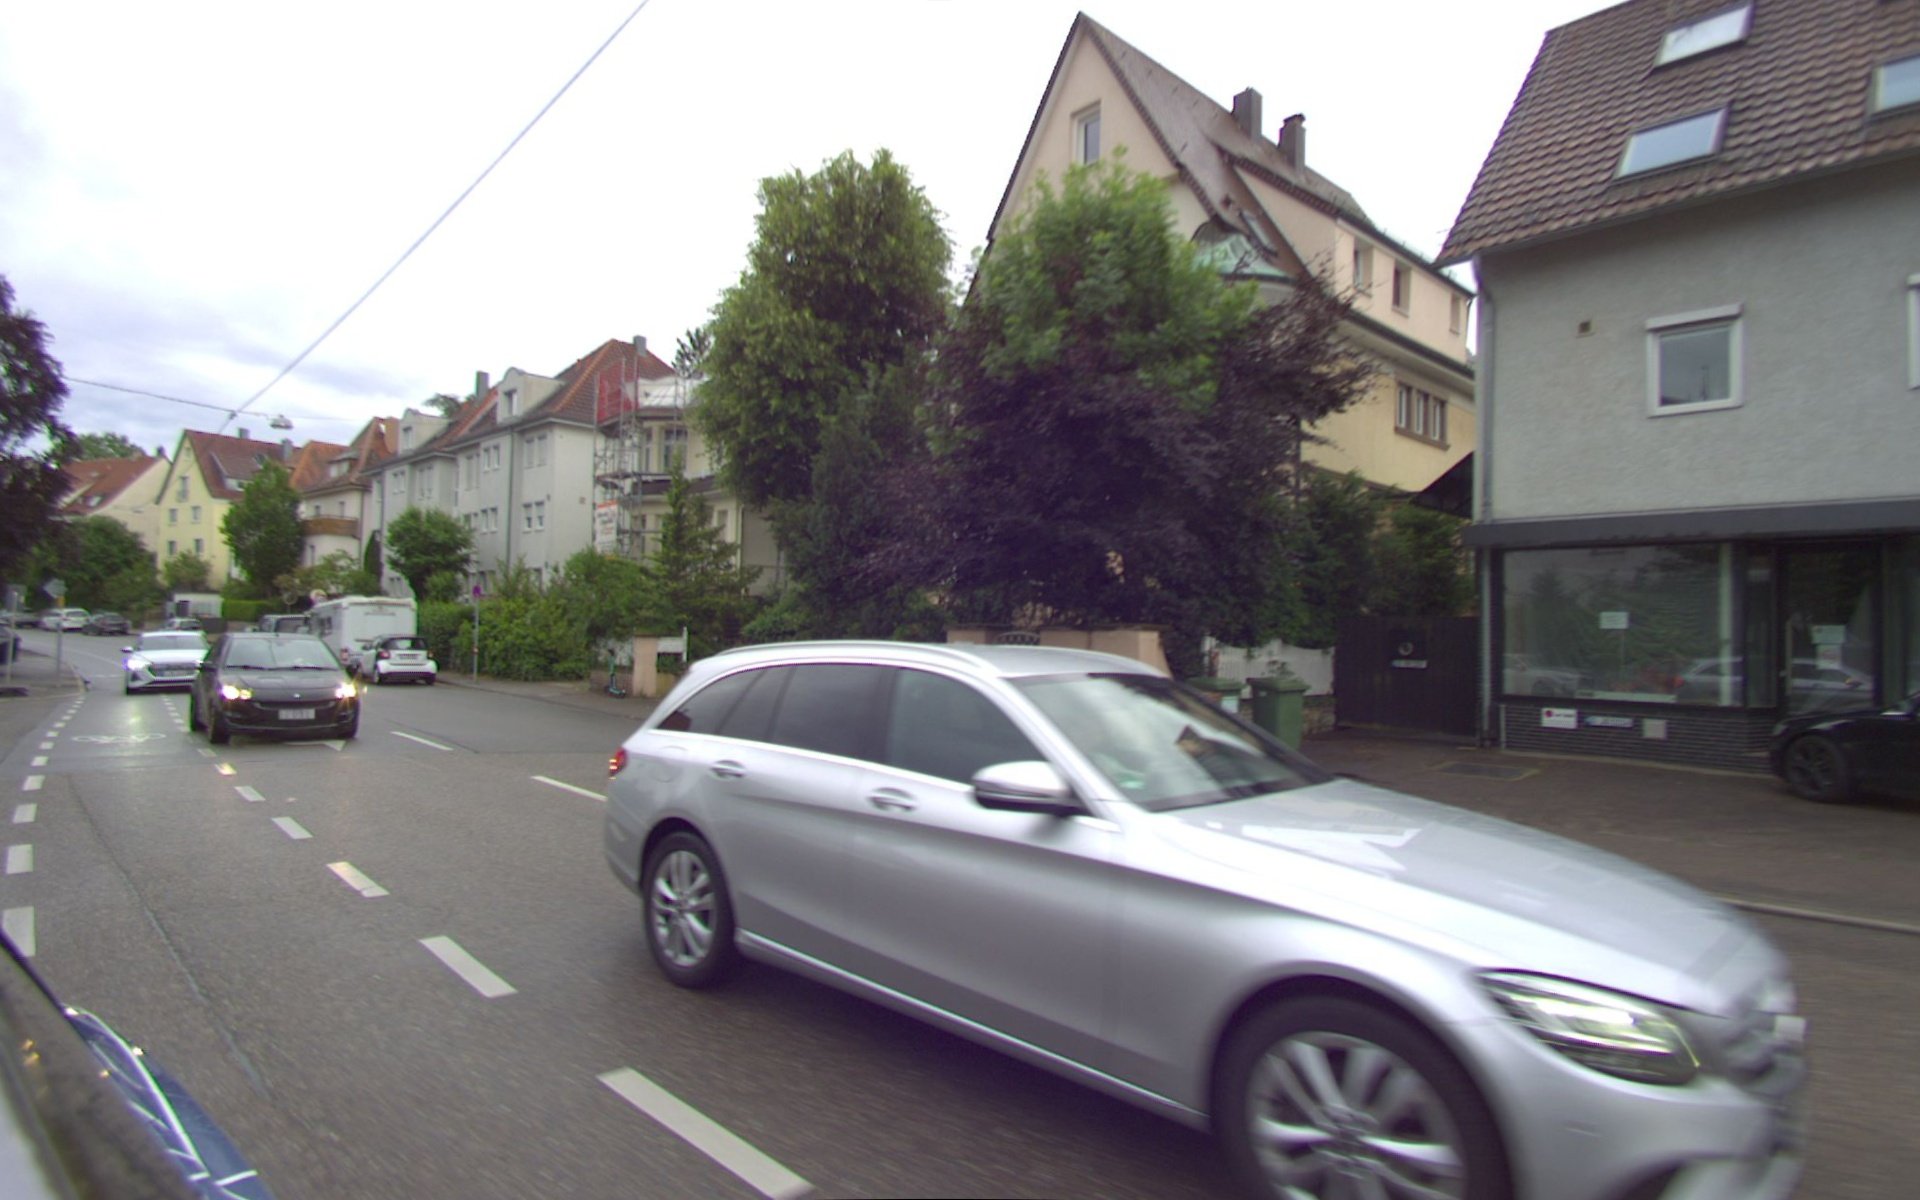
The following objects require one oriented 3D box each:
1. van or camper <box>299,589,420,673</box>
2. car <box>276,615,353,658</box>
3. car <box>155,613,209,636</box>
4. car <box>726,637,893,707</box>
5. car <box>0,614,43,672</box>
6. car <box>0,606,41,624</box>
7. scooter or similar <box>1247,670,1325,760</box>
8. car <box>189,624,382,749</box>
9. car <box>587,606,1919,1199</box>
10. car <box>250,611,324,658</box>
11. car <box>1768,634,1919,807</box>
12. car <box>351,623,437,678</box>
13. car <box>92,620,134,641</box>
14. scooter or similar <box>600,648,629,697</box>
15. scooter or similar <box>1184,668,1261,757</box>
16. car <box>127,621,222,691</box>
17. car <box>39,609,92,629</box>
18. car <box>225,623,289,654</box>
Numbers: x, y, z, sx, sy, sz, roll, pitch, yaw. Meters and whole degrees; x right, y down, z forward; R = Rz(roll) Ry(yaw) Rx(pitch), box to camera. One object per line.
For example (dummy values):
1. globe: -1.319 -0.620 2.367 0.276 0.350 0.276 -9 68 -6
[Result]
1. van or camper: -21.350 1.058 35.848 2.320 2.746 6.122 3 -2 -43
2. car: -26.167 1.459 40.950 1.810 1.607 4.751 3 -2 -43
3. car: -47.572 1.486 61.865 3.433 1.383 1.661 -1 -1 35
4. car: -3.533 1.738 24.049 3.535 1.553 1.712 5 -6 -40
5. car: -32.647 1.266 32.448 4.674 1.823 1.944 7 -5 -43
6. car: -75.293 1.208 80.810 4.421 1.383 1.663 0 -1 31
7. scooter or similar: 4.257 1.485 13.253 0.599 1.070 0.766 1 0 -27
8. car: -9.661 1.103 14.385 1.870 1.475 3.688 1 -1 -40
9. car: 0.584 0.862 3.840 4.486 1.491 1.971 -3 -4 44
10. car: -30.530 1.496 45.851 4.582 2.003 1.811 0 -1 44
11. car: 9.638 1.095 8.374 1.776 1.506 4.689 -1 -1 -6
12. car: -17.767 1.554 31.716 1.575 1.607 3.321 3 -2 -43
13. car: -59.285 2.115 70.839 3.437 1.383 1.658 -1 -1 39
14. scooter or similar: -8.886 1.842 26.012 0.396 1.197 1.143 1 -1 -36
15. scooter or similar: 3.418 1.448 13.220 0.599 1.070 0.766 1 0 -27
16. car: -21.214 1.446 27.284 1.769 1.712 3.896 1 -1 -42
17. car: -66.753 1.417 75.537 4.421 1.383 1.663 0 -4 31
18. car: -35.249 1.905 50.673 4.510 1.383 1.657 1 0 42
